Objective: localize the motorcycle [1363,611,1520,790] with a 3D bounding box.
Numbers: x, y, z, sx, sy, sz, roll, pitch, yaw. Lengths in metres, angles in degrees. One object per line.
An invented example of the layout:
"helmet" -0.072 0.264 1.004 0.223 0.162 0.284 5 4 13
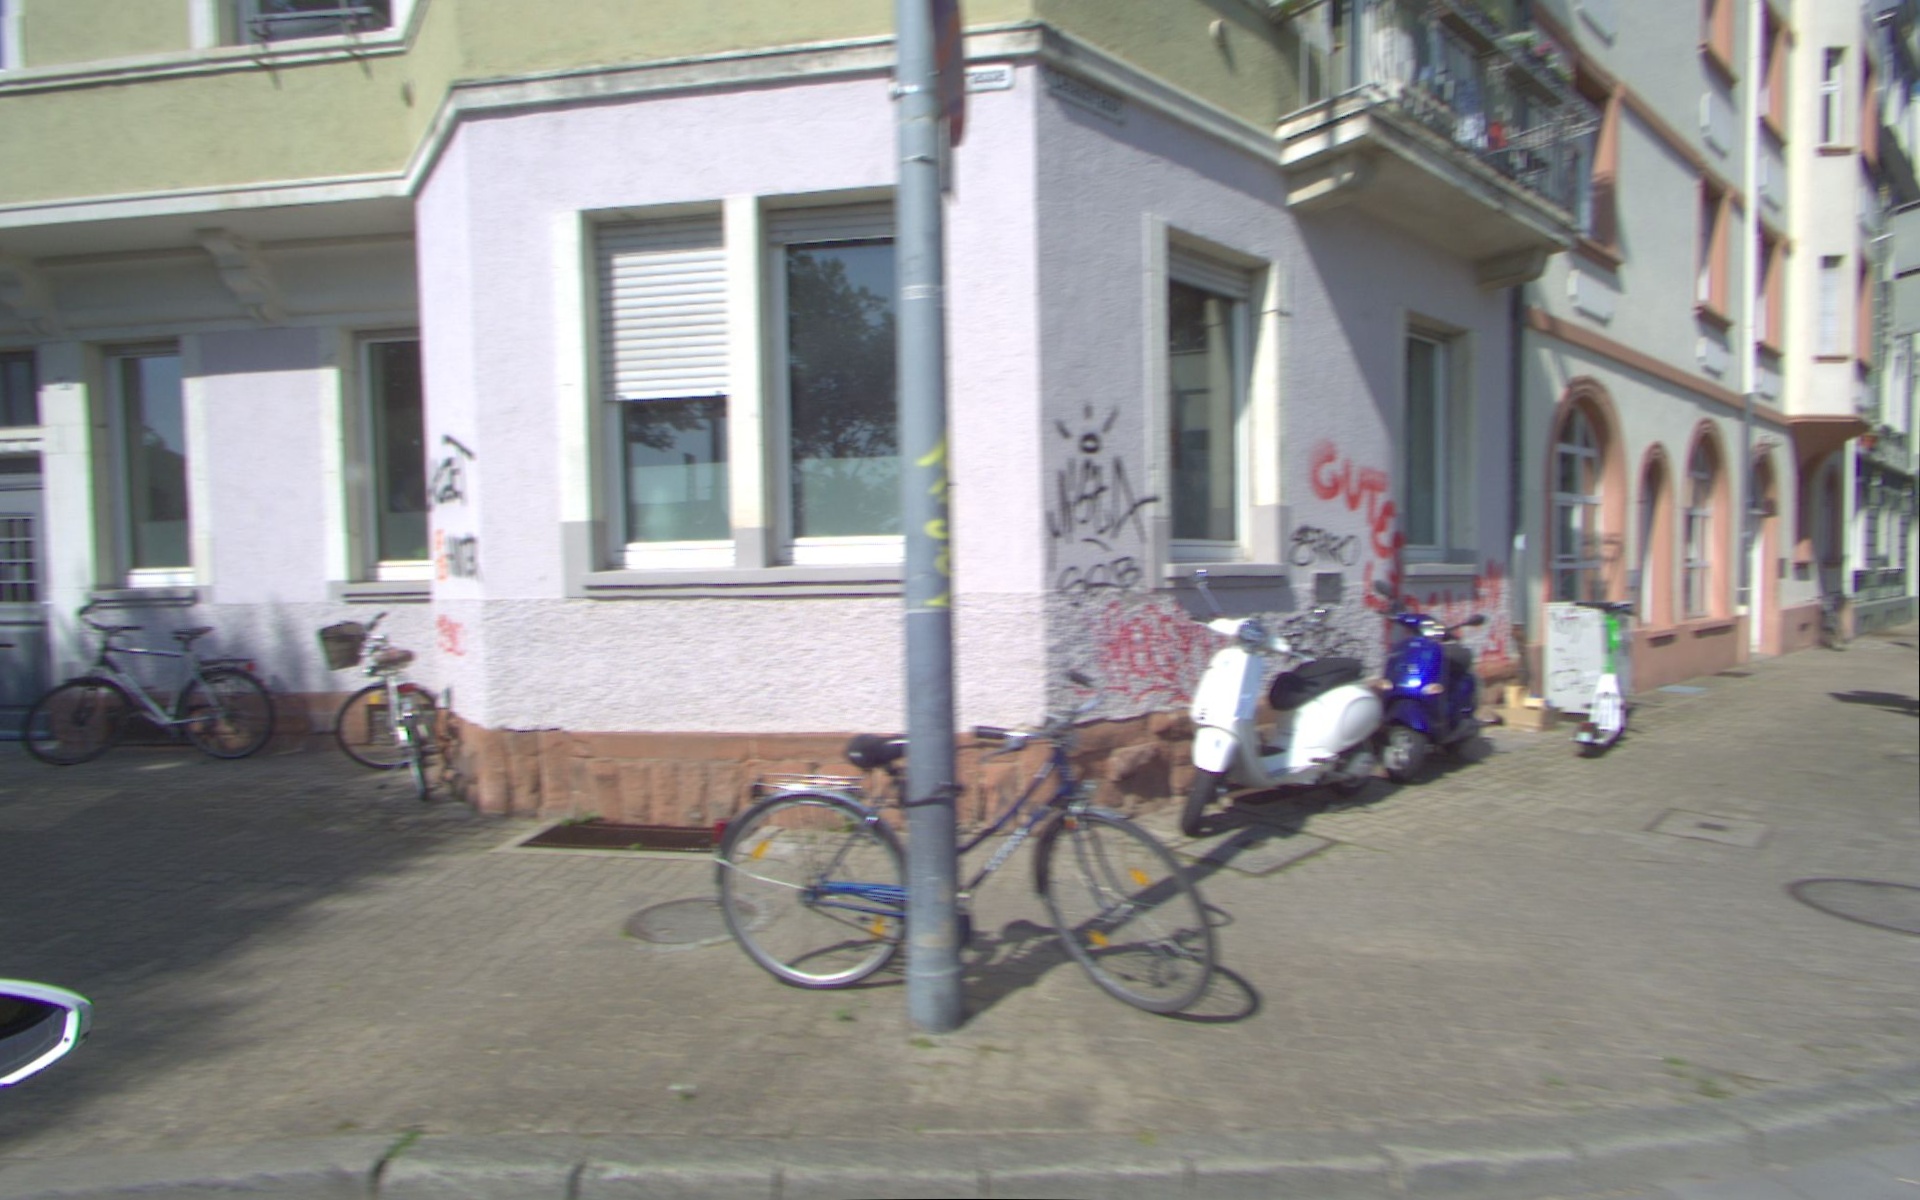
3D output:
"motorcycle" 3.418 0.655 7.065 1.433 1.109 0.425 -2 3 -40

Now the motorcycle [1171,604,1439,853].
"motorcycle" 1.992 0.649 5.685 1.740 1.166 0.470 -3 4 -33

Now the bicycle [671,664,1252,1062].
"bicycle" 0.014 0.789 3.236 1.701 1.102 0.578 -1 2 5

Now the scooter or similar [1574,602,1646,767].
"scooter or similar" 5.080 0.611 7.804 0.271 1.143 1.436 2 3 40

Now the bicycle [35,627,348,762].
"bicycle" -5.990 0.717 7.843 2.073 0.959 0.609 0 4 7

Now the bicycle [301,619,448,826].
"bicycle" -3.815 0.705 6.465 0.532 1.061 1.812 -3 4 -38
